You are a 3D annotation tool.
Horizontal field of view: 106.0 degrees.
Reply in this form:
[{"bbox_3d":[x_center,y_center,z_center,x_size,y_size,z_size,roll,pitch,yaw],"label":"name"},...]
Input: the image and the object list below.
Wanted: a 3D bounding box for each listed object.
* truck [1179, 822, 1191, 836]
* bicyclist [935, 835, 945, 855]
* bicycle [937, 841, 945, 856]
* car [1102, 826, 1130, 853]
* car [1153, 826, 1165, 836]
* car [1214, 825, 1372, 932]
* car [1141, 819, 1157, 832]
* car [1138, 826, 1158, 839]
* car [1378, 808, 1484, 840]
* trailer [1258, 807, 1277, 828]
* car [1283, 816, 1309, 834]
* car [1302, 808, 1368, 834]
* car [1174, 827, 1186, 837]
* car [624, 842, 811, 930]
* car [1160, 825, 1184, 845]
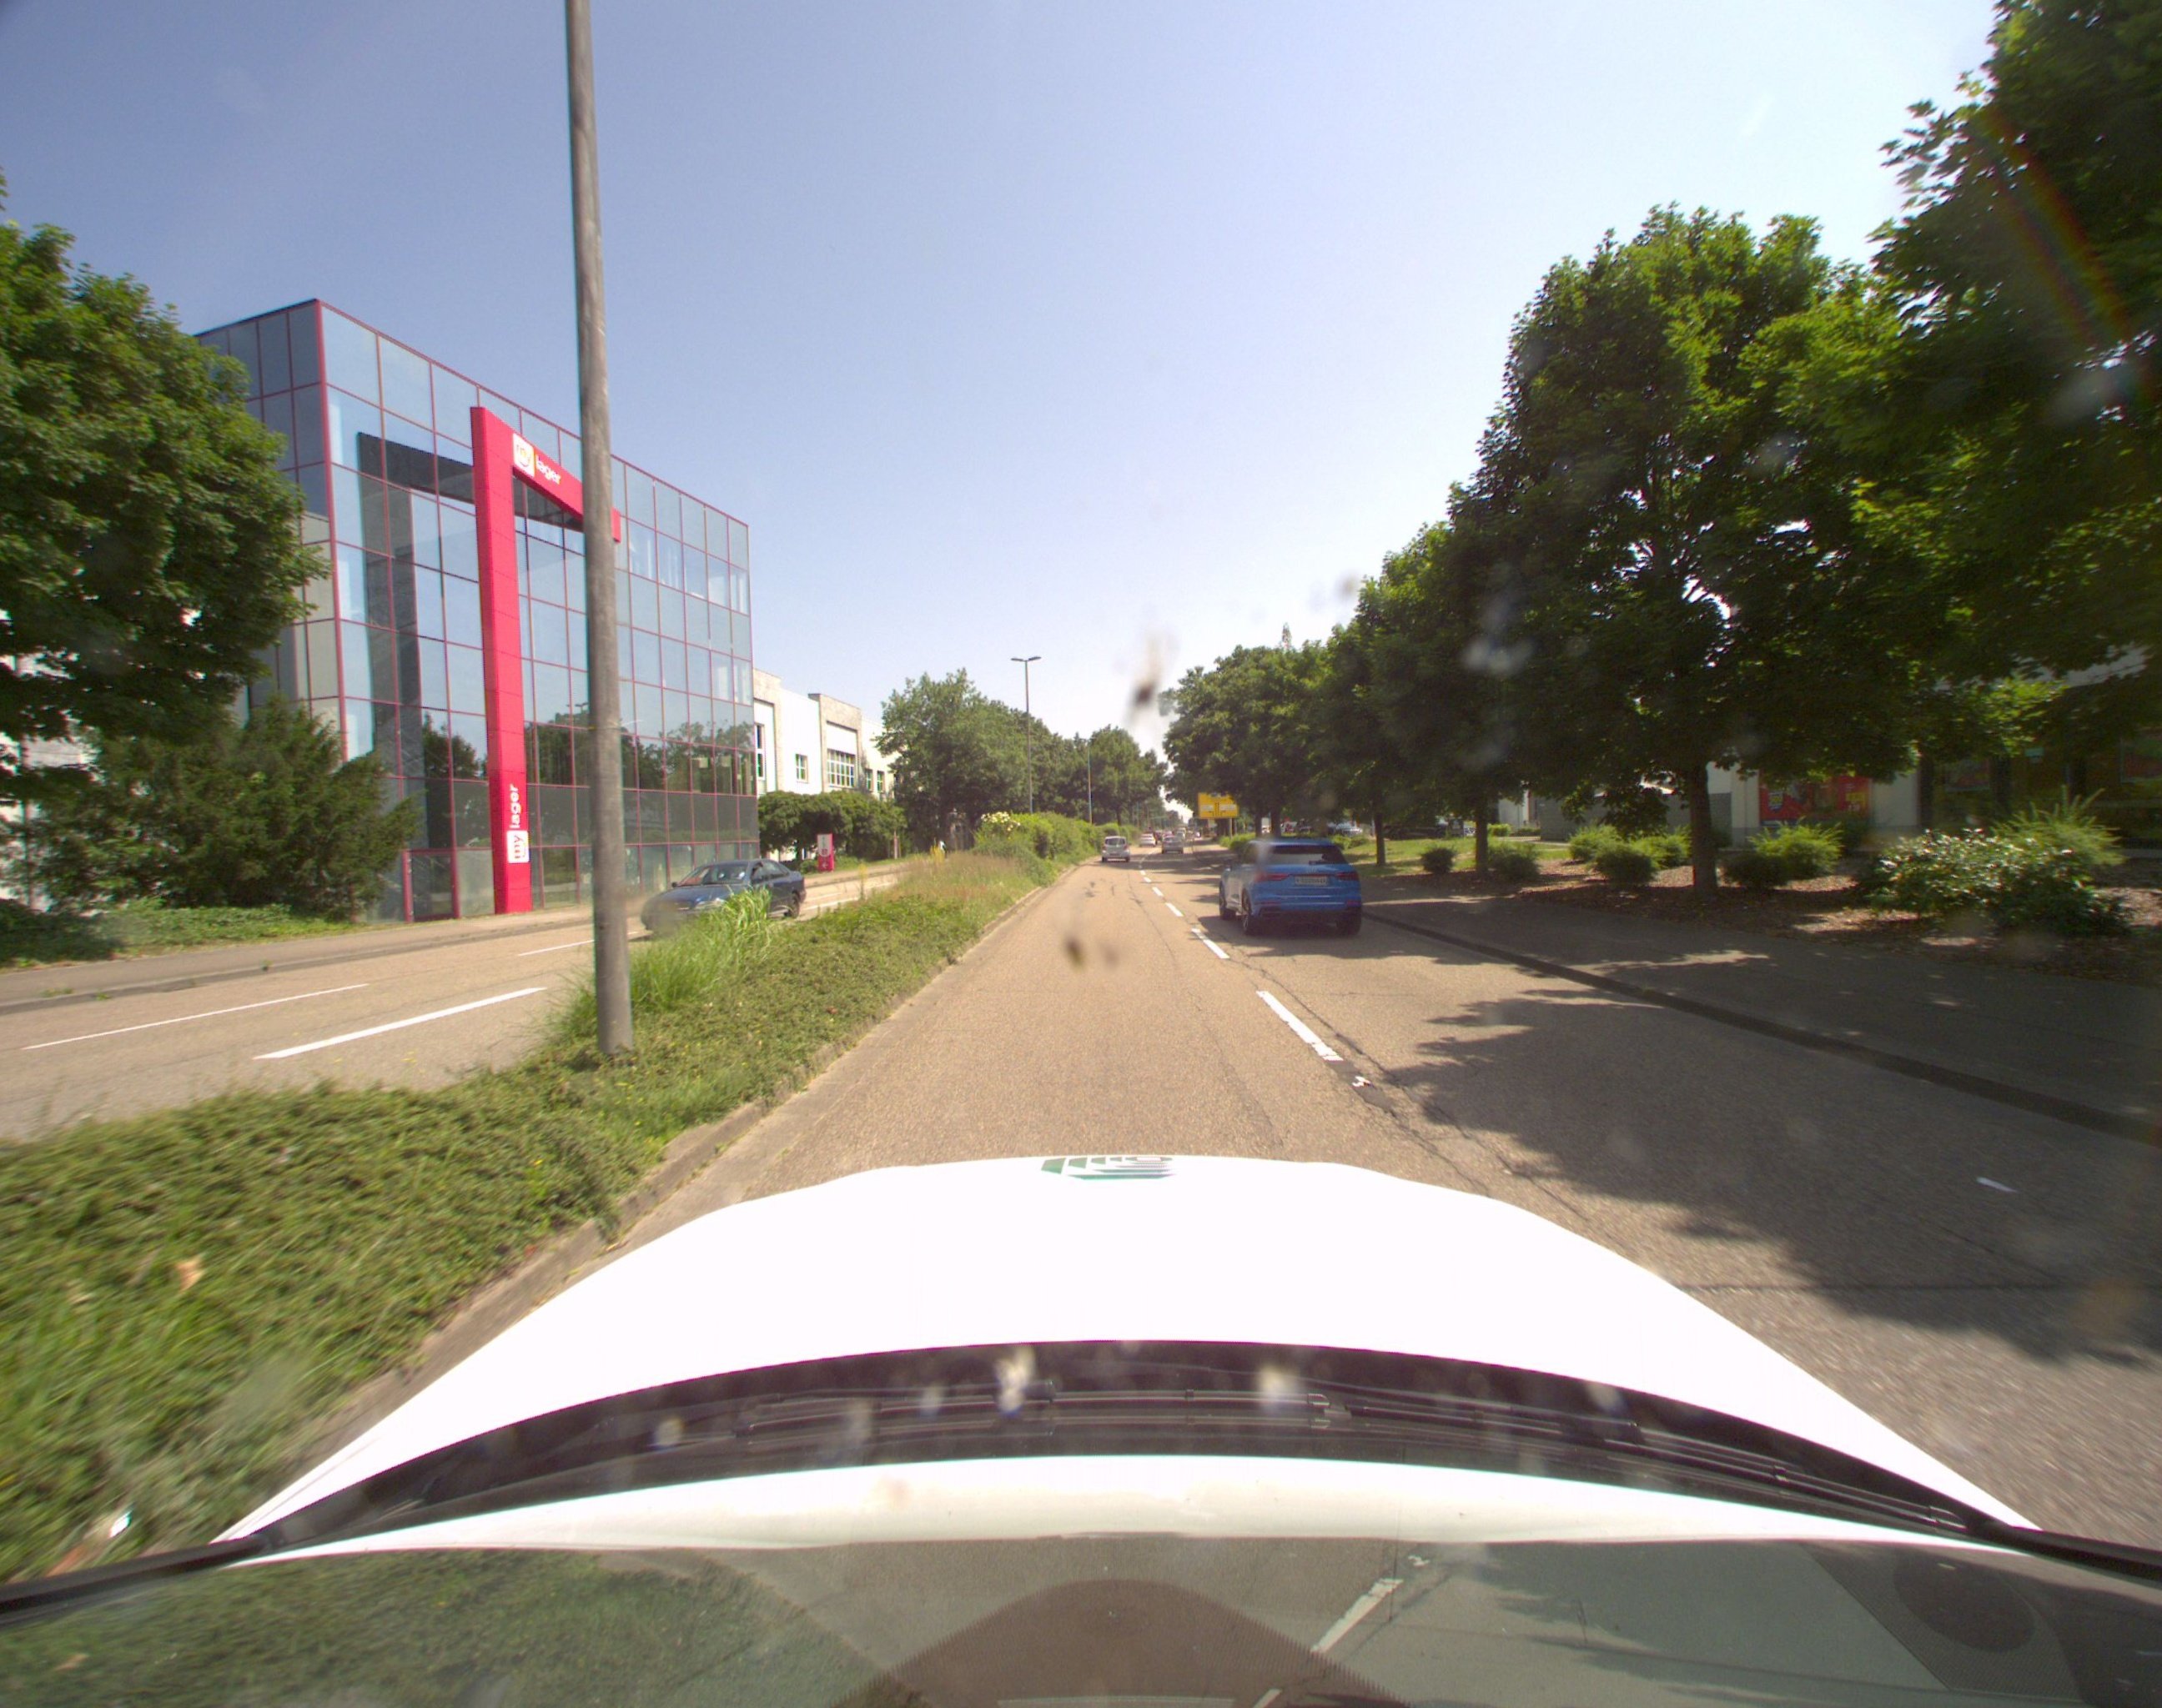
[{"bbox_3d":[27.912,-6.624,218.050,2.916,3.502,9.179,-2,2,8],"label":"truck"},{"bbox_3d":[-10.767,-0.671,62.177,0.543,1.509,0.343,-4,1,2],"label":"bicyclist"},{"bbox_3d":[-10.693,-0.430,62.219,0.345,1.067,0.923,-3,1,2],"label":"bicycle"},{"bbox_3d":[2.155,-0.874,49.289,1.631,1.552,3.328,-1,1,3],"label":"car"},{"bbox_3d":[11.269,-3.370,117.515,1.481,1.392,3.310,-1,1,2],"label":"car"},{"bbox_3d":[3.582,0.330,14.553,1.802,1.592,4.352,-1,1,2],"label":"car"},{"bbox_3d":[8.646,-3.604,103.275,1.874,1.608,4.009,-3,2,7],"label":"car"},{"bbox_3d":[7.350,-2.339,88.869,1.874,1.354,4.009,-1,1,8],"label":"car"},{"bbox_3d":[17.702,-1.502,41.424,1.959,1.351,4.670,-4,2,-30],"label":"car"},{"bbox_3d":[20.033,-3.903,87.515,1.690,2.055,5.500,-1,2,10],"label":"trailer"},{"bbox_3d":[16.273,-2.157,61.692,1.609,1.252,3.775,-1,1,11],"label":"car"},{"bbox_3d":[15.255,-1.942,49.224,1.902,1.451,5.594,-1,1,-4],"label":"car"},{"bbox_3d":[14.916,-3.315,123.052,1.435,1.348,3.462,-3,1,2],"label":"car"},{"bbox_3d":[-7.234,0.545,16.760,1.715,1.416,4.249,-4,1,2],"label":"car"},{"bbox_3d":[7.315,-1.531,65.256,1.856,1.473,4.009,-1,1,7],"label":"car"}]
